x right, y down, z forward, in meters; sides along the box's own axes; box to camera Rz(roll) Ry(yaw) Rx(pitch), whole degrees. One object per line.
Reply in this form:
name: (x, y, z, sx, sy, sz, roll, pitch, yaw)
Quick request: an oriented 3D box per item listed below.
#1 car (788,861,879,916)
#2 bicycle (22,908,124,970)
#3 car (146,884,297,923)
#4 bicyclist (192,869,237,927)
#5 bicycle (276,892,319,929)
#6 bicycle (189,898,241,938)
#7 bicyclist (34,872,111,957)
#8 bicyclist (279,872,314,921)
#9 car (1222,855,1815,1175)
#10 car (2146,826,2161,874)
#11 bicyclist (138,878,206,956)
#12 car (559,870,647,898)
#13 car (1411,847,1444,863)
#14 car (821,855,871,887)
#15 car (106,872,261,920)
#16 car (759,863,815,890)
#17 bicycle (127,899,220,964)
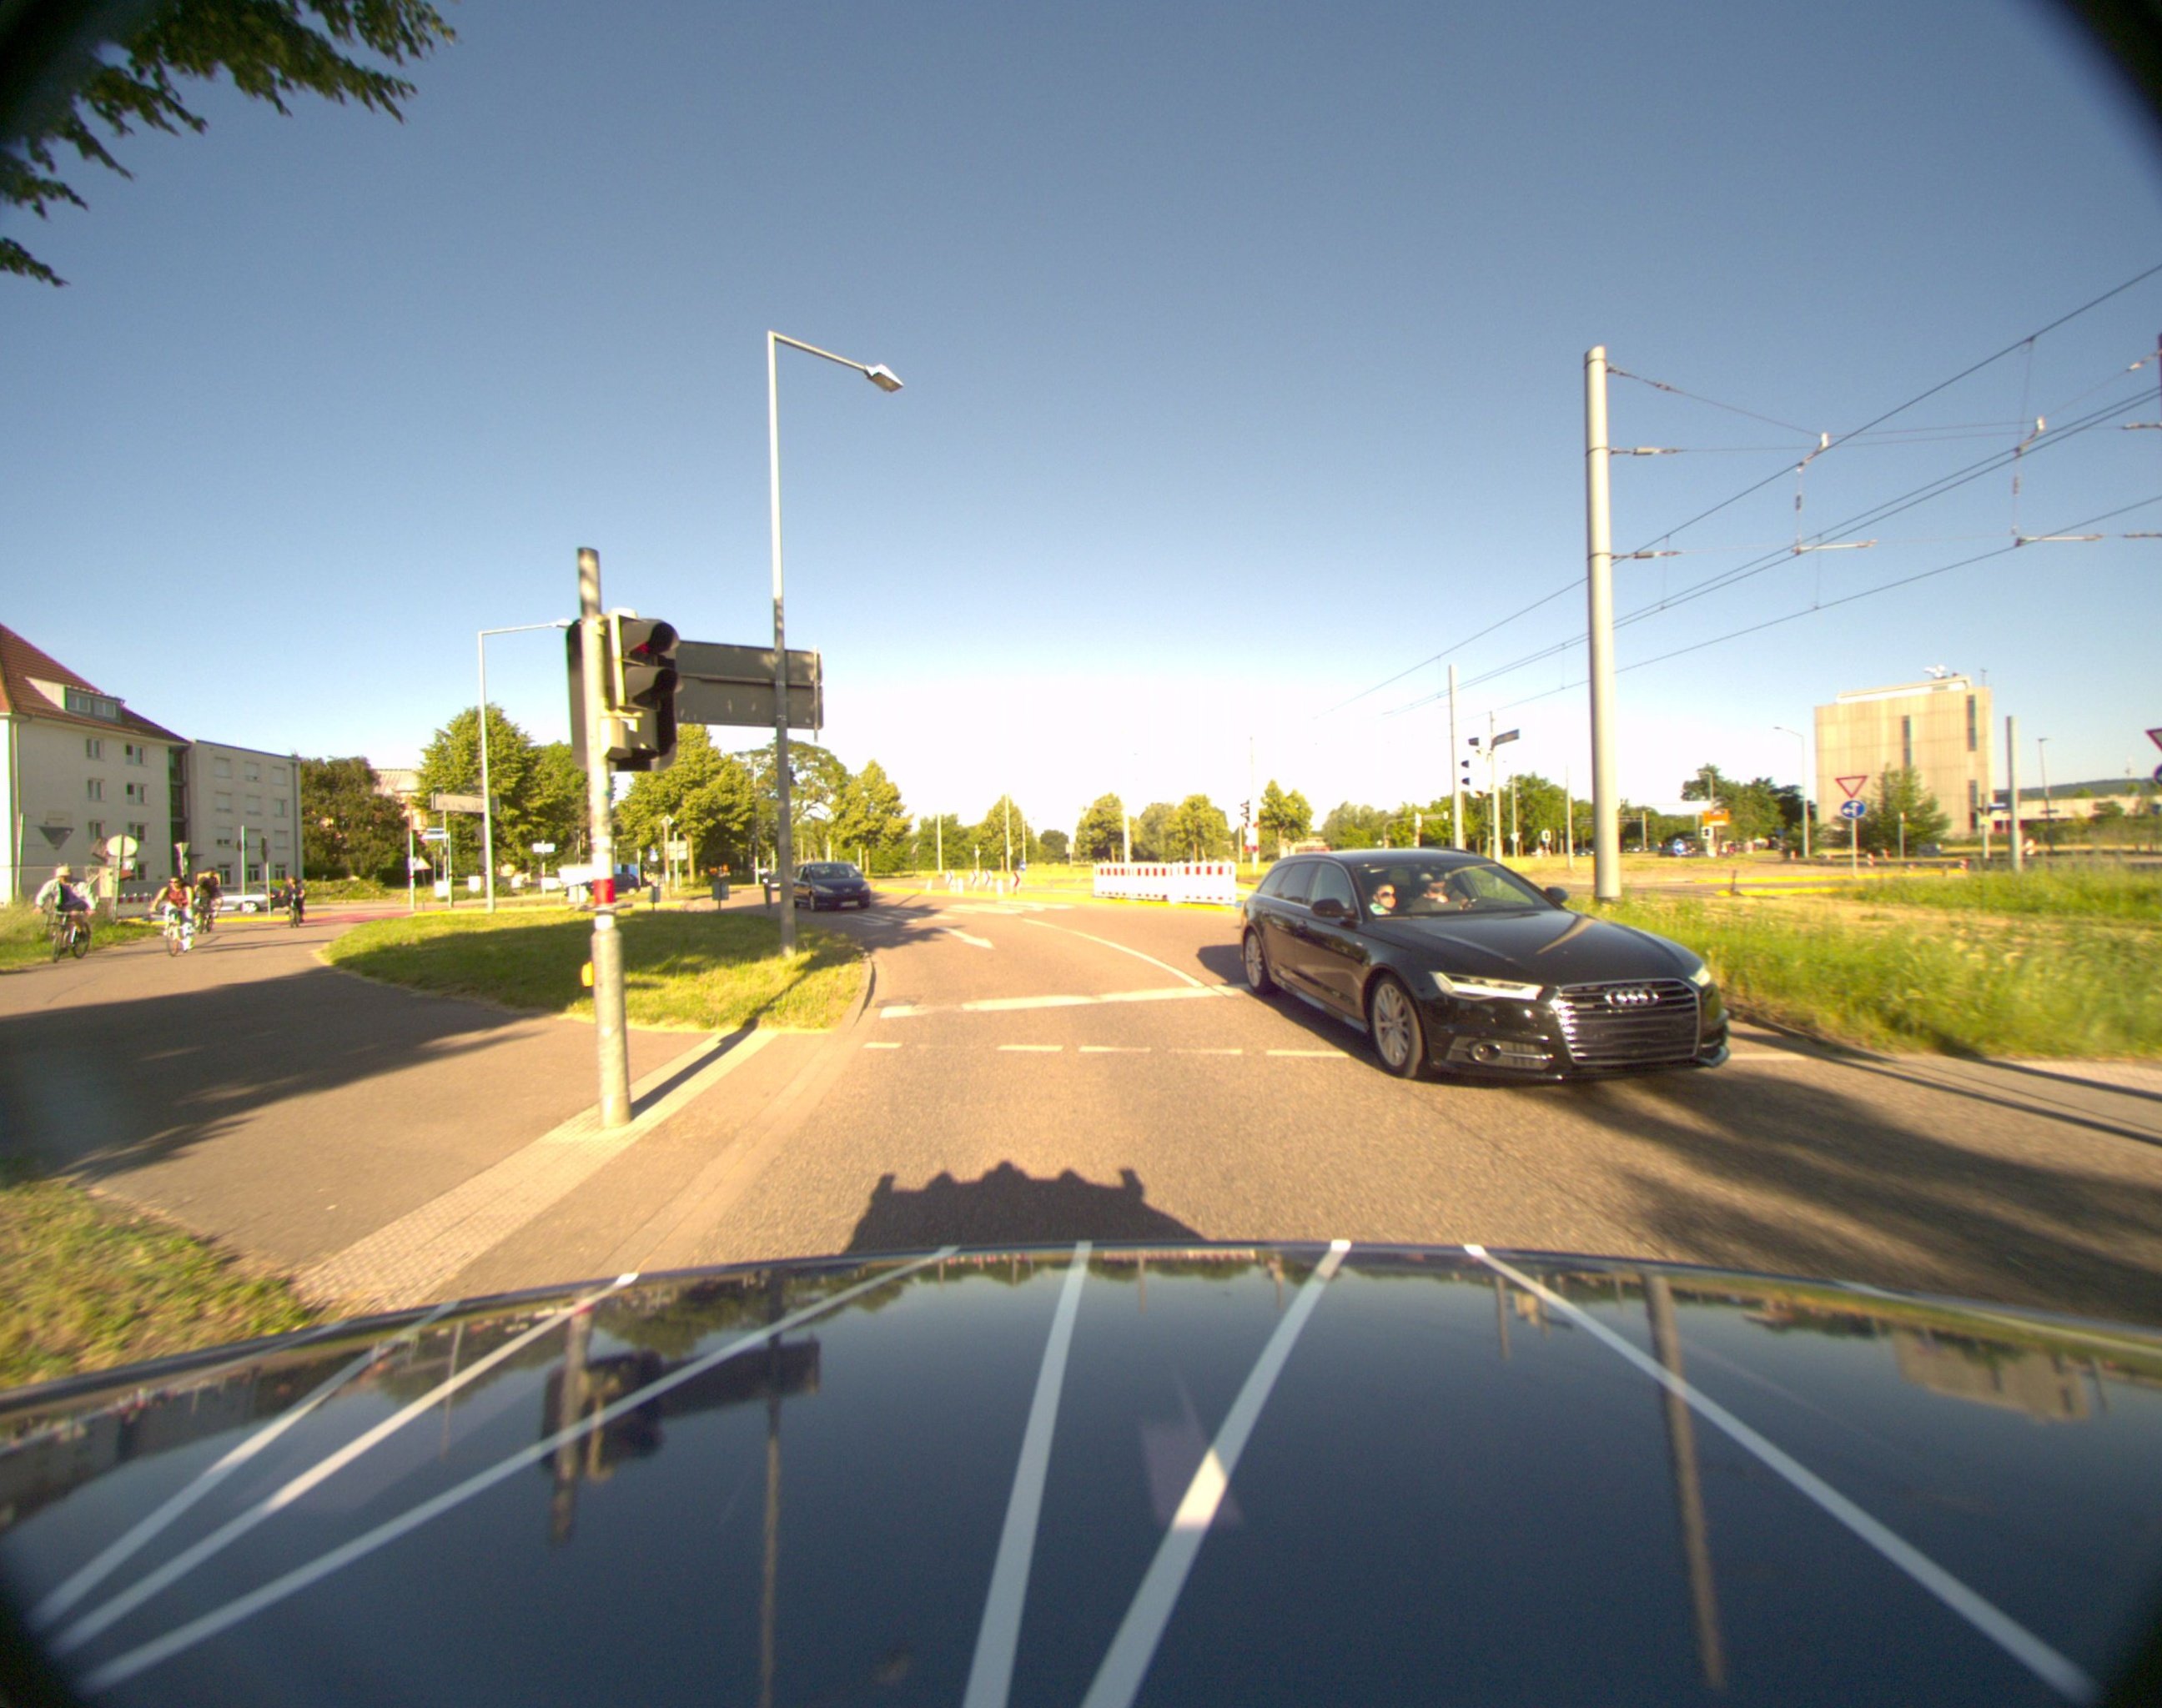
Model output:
car: (-7.991, 1.021, 24.303, 1.767, 1.506, 3.938, -3, 2, -33)
bicycle: (-19.267, 1.592, 14.567, 0.659, 1.006, 1.815, -2, 0, -37)
car: (-40.030, 2.255, 35.553, 4.282, 1.420, 1.845, -3, 2, -34)
bicyclist: (-24.498, 1.227, 21.493, 0.594, 1.578, 0.963, -3, 2, -38)
bicycle: (-25.088, 1.790, 24.352, 0.480, 1.076, 1.640, -3, 2, -31)
bicycle: (-24.485, 1.784, 21.516, 0.594, 0.955, 1.895, -3, 2, -38)
bicyclist: (-19.261, 1.123, 14.531, 0.656, 1.544, 0.792, -2, 1, -37)
bicyclist: (-25.085, 1.348, 24.305, 0.472, 1.477, 0.913, -3, 2, -31)
car: (2.718, 0.815, 6.189, 1.789, 1.518, 4.598, -2, 0, -6)
car: (29.013, -0.070, 18.751, 1.660, 1.257, 3.627, -1, 1, 27)
bicyclist: (-18.218, 1.240, 15.242, 0.505, 1.464, 0.832, -2, 1, -22)
car: (-28.075, 1.740, 44.730, 1.752, 1.370, 4.007, -1, 2, 42)
car: (35.754, 0.119, 78.423, 1.798, 1.420, 4.018, -1, 2, 45)
car: (-12.551, 0.860, 40.797, 1.850, 1.560, 4.525, -2, 0, -8)
car: (-36.463, 1.677, 30.985, 3.565, 1.740, 2.023, -1, 0, -11)
car: (-17.516, 1.321, 45.447, 1.849, 1.419, 3.947, -2, 0, -1)
bicycle: (-18.218, 1.522, 15.293, 0.508, 1.145, 1.602, 0, 0, -22)
